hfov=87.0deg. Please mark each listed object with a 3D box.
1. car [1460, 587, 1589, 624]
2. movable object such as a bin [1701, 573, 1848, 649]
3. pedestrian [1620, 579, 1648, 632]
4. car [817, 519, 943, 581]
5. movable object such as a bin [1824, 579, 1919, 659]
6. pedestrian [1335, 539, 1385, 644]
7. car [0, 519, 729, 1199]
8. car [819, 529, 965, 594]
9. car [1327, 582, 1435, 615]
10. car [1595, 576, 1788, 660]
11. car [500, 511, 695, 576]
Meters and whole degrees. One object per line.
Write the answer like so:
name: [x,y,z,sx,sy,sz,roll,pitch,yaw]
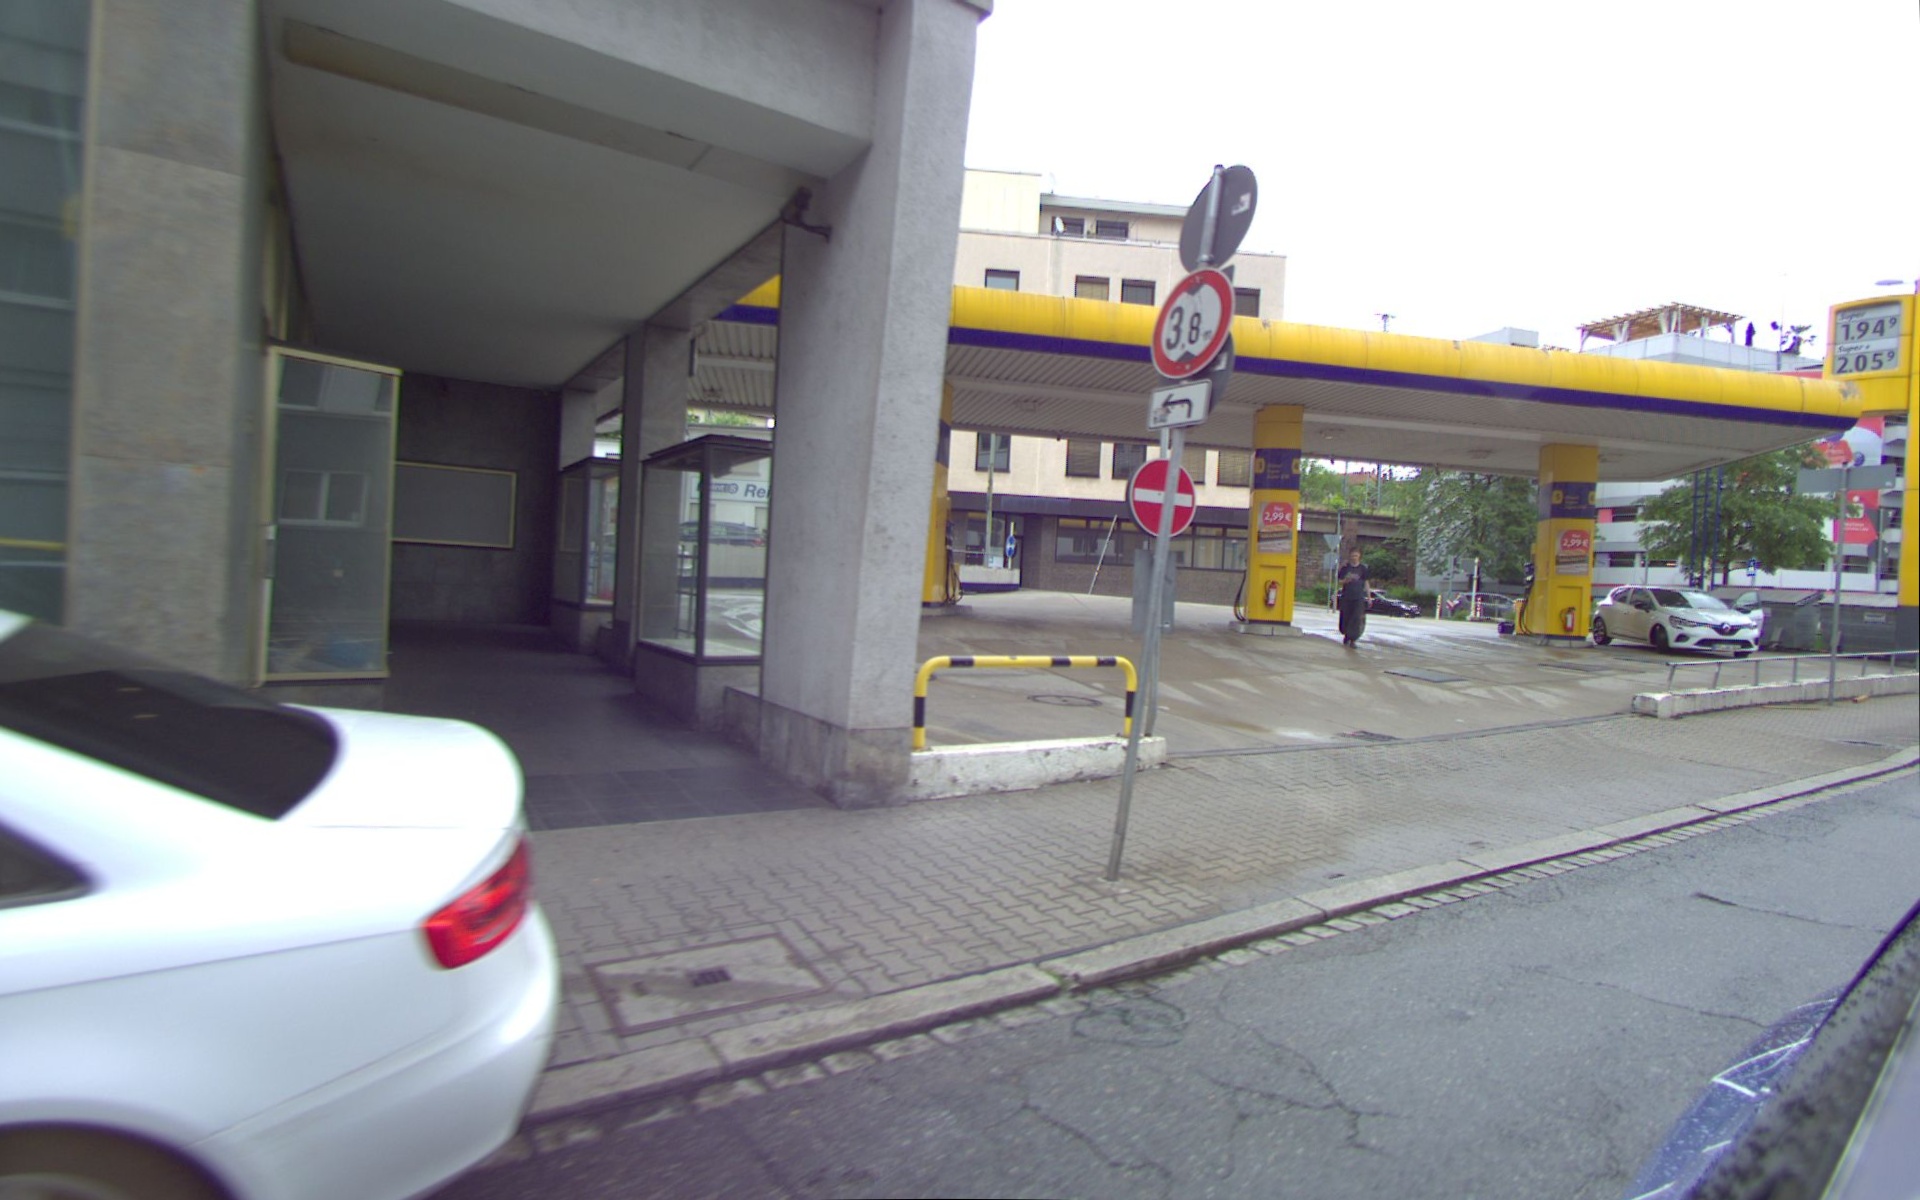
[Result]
car: [27.002,0.255,48.566,1.963,1.652,5.035,2,0,-38]
movable object such as a bin: [19.031,0.234,23.698,1.738,1.574,2.165,2,3,-33]
pedestrian: [20.194,0.164,30.322,0.567,1.534,0.477,1,-1,16]
car: [-2.917,-1.795,36.907,4.312,1.748,2.002,5,-1,-5]
movable object such as a bin: [20.316,0.415,21.771,1.738,1.594,2.165,2,2,-33]
pedestrian: [7.093,-0.162,17.971,0.650,1.792,0.528,4,3,15]
car: [-2.907,0.579,1.579,4.521,1.418,1.902,2,6,-36]
car: [-2.192,-1.202,32.458,4.489,1.888,2.002,2,0,-4]
car: [22.496,-0.093,54.263,1.963,1.652,5.035,2,0,-38]
car: [15.589,0.295,21.850,1.718,1.459,3.990,3,3,10]
car: [-9.295,-1.457,26.166,4.339,1.534,1.999,2,2,4]
